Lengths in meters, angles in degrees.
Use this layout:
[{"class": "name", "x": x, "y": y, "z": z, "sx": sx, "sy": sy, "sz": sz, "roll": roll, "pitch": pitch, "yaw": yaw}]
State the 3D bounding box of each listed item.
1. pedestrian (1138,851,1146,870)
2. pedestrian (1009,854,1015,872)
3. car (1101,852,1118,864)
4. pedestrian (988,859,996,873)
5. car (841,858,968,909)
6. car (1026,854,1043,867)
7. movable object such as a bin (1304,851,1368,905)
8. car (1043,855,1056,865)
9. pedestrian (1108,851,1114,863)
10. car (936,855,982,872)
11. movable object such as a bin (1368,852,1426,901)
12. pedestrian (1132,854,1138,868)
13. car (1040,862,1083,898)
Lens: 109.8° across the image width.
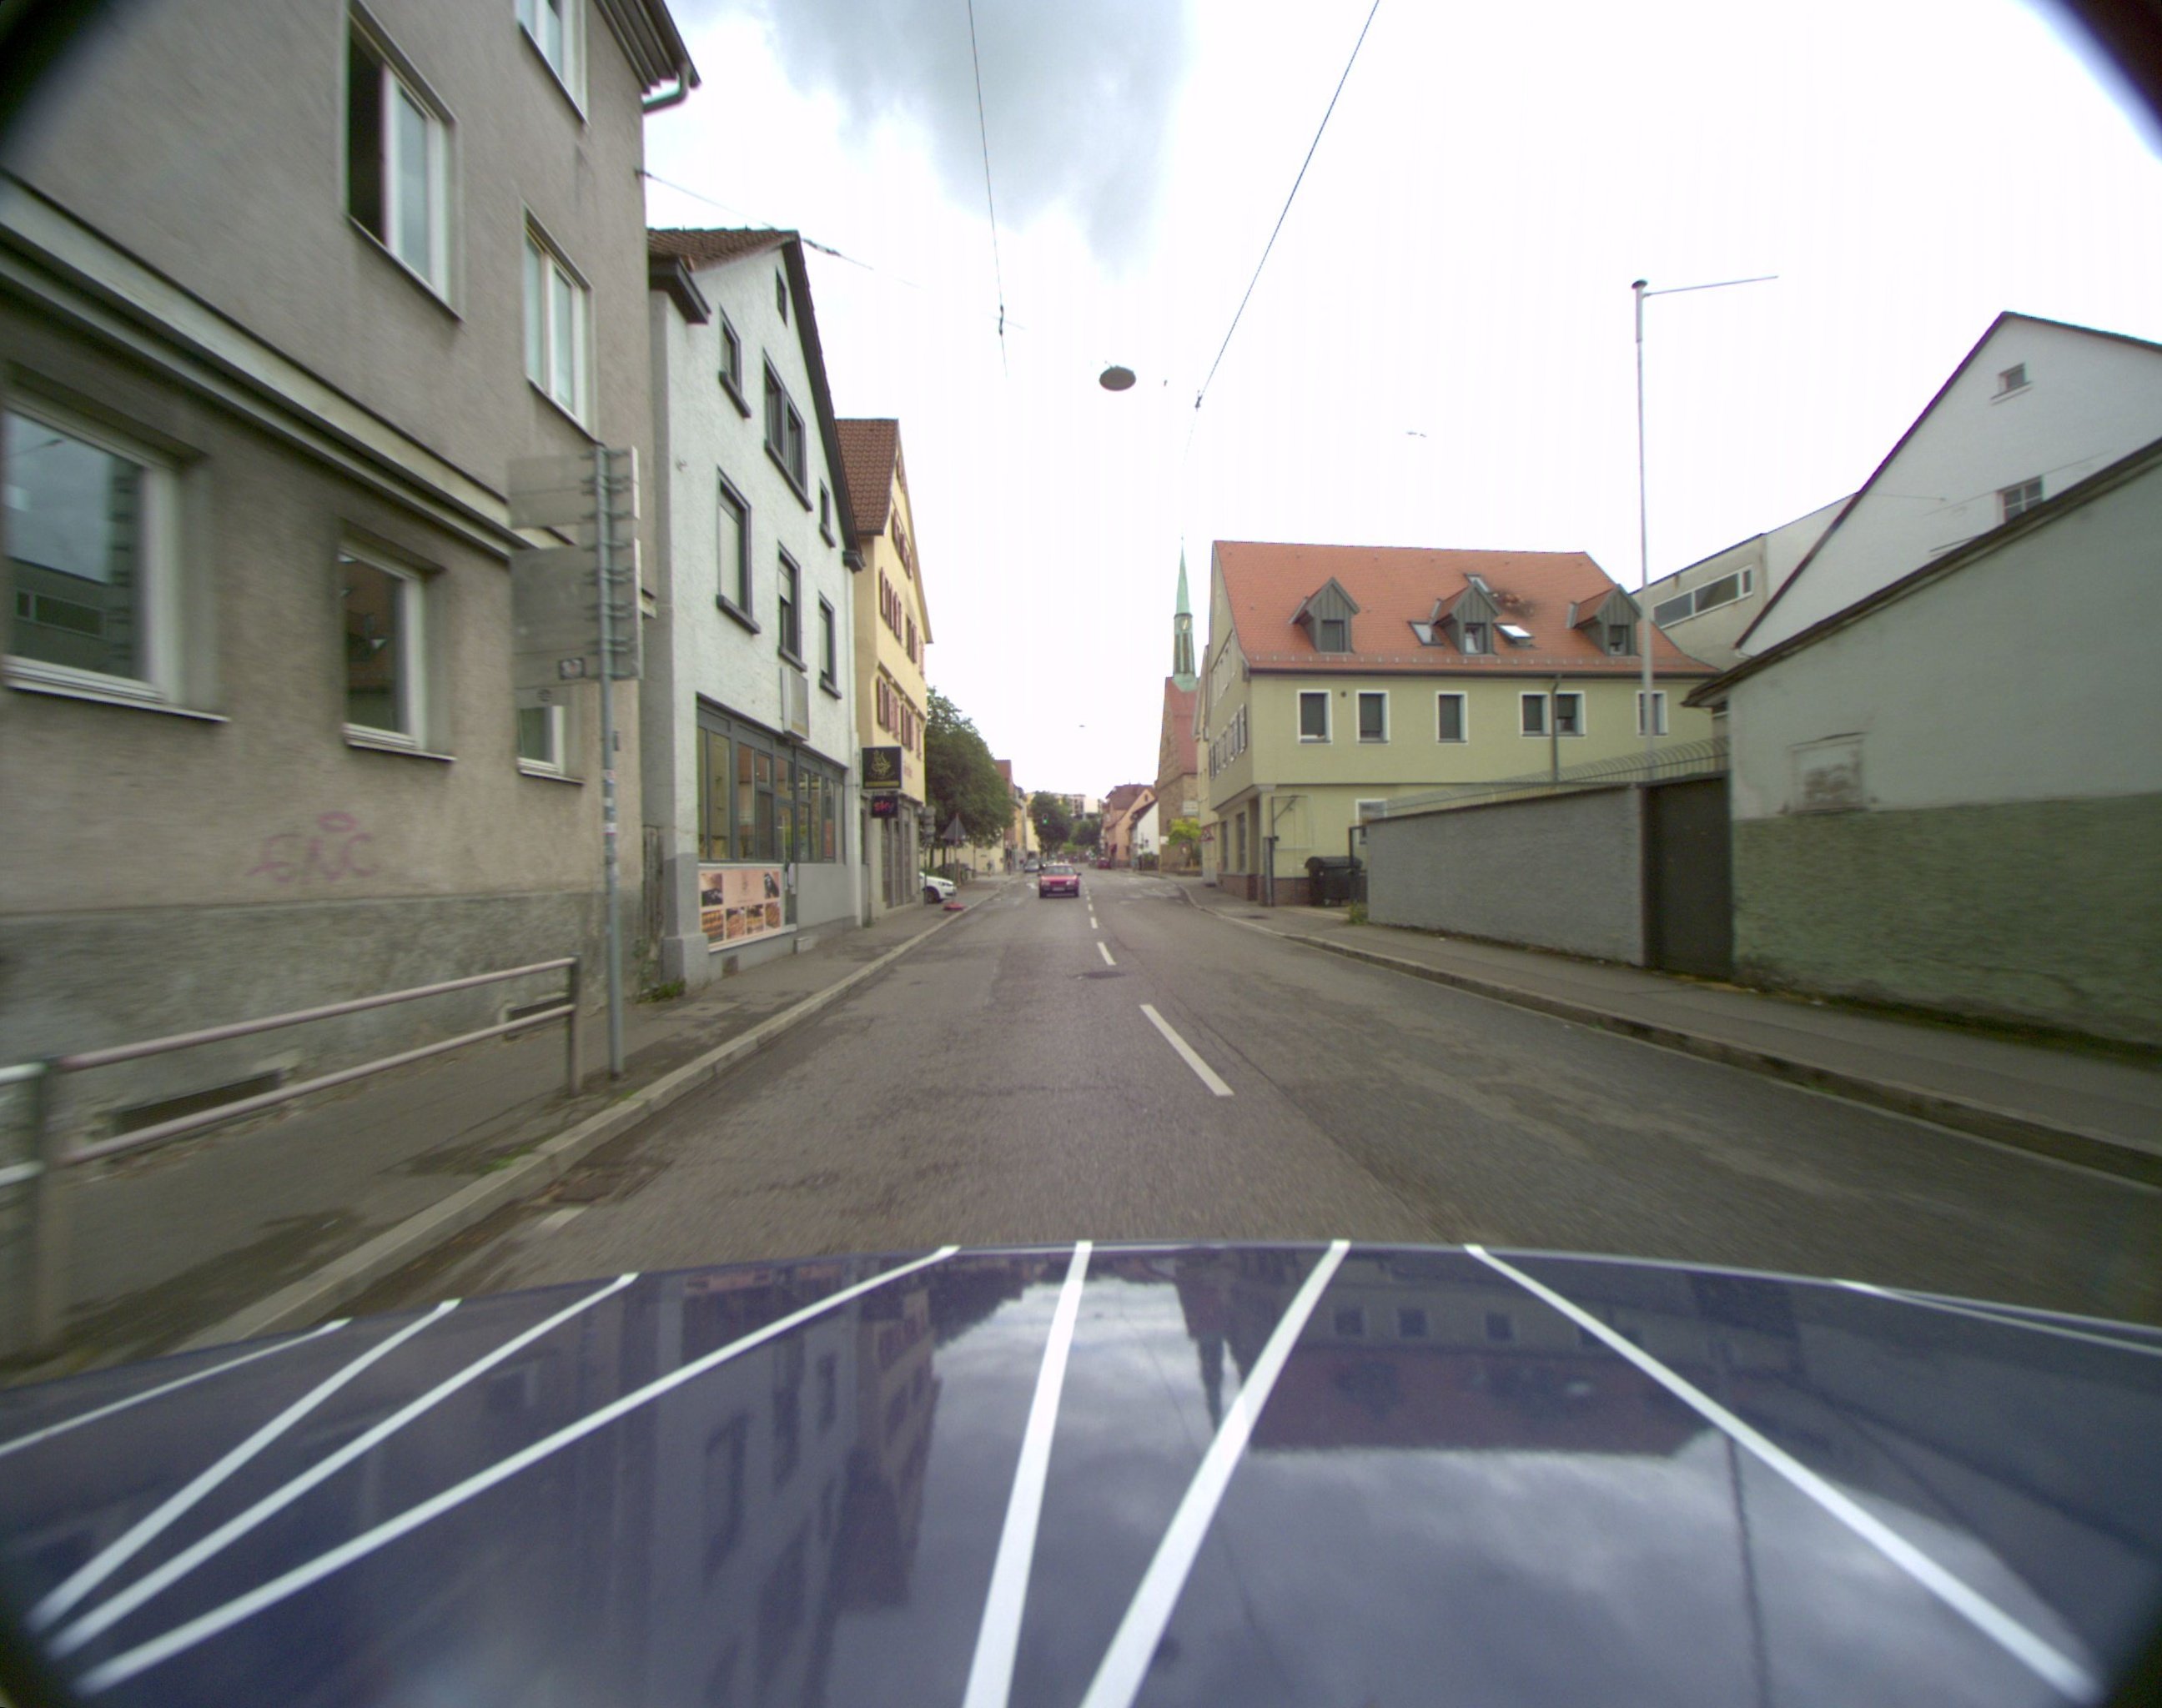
[{"class": "pedestrian", "x": 7.010, "y": 0.724, "z": 87.078, "sx": 0.758, "sy": 2.109, "sz": 0.783, "roll": -3, "pitch": 0, "yaw": -1}, {"class": "pedestrian", "x": -8.207, "y": 1.076, "z": 90.132, "sx": 0.660, "sy": 2.102, "sz": 0.646, "roll": 0, "pitch": -1, "yaw": -1}, {"class": "car", "x": 4.179, "y": 0.581, "z": 112.263, "sx": 2.213, "sy": 1.668, "sz": 4.497, "roll": -1, "pitch": 0, "yaw": -2}, {"class": "pedestrian", "x": -8.904, "y": 1.204, "z": 76.023, "sx": 0.599, "sy": 1.435, "sz": 0.772, "roll": -1, "pitch": 1, "yaw": -1}, {"class": "car", "x": -6.790, "y": 1.127, "z": 29.605, "sx": 4.465, "sy": 1.777, "sz": 1.999, "roll": -1, "pitch": 1, "yaw": -2}, {"class": "car", "x": -5.847, "y": 0.839, "z": 95.568, "sx": 2.033, "sy": 1.546, "sz": 3.999, "roll": -1, "pitch": 0, "yaw": -2}, {"class": "movable object such as a bin", "x": 7.248, "y": 0.670, "z": 21.673, "sx": 1.312, "sy": 1.467, "sz": 1.099, "roll": -2, "pitch": 0, "yaw": -11}, {"class": "car", "x": -4.510, "y": 0.897, "z": 110.337, "sx": 1.822, "sy": 1.380, "sz": 3.999, "roll": -1, "pitch": 0, "yaw": -2}, {"class": "pedestrian", "x": 4.931, "y": 0.459, "z": 123.711, "sx": 0.837, "sy": 2.002, "sz": 0.845, "roll": -2, "pitch": 0, "yaw": -3}, {"class": "car", "x": -11.729, "y": 0.878, "z": 73.009, "sx": 3.997, "sy": 1.455, "sz": 2.000, "roll": -2, "pitch": 1, "yaw": 1}, {"class": "movable object such as a bin", "x": 9.168, "y": 0.650, "z": 22.117, "sx": 1.245, "sy": 1.353, "sz": 1.059, "roll": -2, "pitch": 0, "yaw": 3}, {"class": "pedestrian", "x": 6.224, "y": 0.802, "z": 87.195, "sx": 0.637, "sy": 1.596, "sz": 0.711, "roll": -1, "pitch": 1, "yaw": -1}, {"class": "car", "x": -0.799, "y": 1.090, "z": 32.744, "sx": 1.685, "sy": 1.418, "sz": 4.022, "roll": -1, "pitch": -1, "yaw": 0}]
